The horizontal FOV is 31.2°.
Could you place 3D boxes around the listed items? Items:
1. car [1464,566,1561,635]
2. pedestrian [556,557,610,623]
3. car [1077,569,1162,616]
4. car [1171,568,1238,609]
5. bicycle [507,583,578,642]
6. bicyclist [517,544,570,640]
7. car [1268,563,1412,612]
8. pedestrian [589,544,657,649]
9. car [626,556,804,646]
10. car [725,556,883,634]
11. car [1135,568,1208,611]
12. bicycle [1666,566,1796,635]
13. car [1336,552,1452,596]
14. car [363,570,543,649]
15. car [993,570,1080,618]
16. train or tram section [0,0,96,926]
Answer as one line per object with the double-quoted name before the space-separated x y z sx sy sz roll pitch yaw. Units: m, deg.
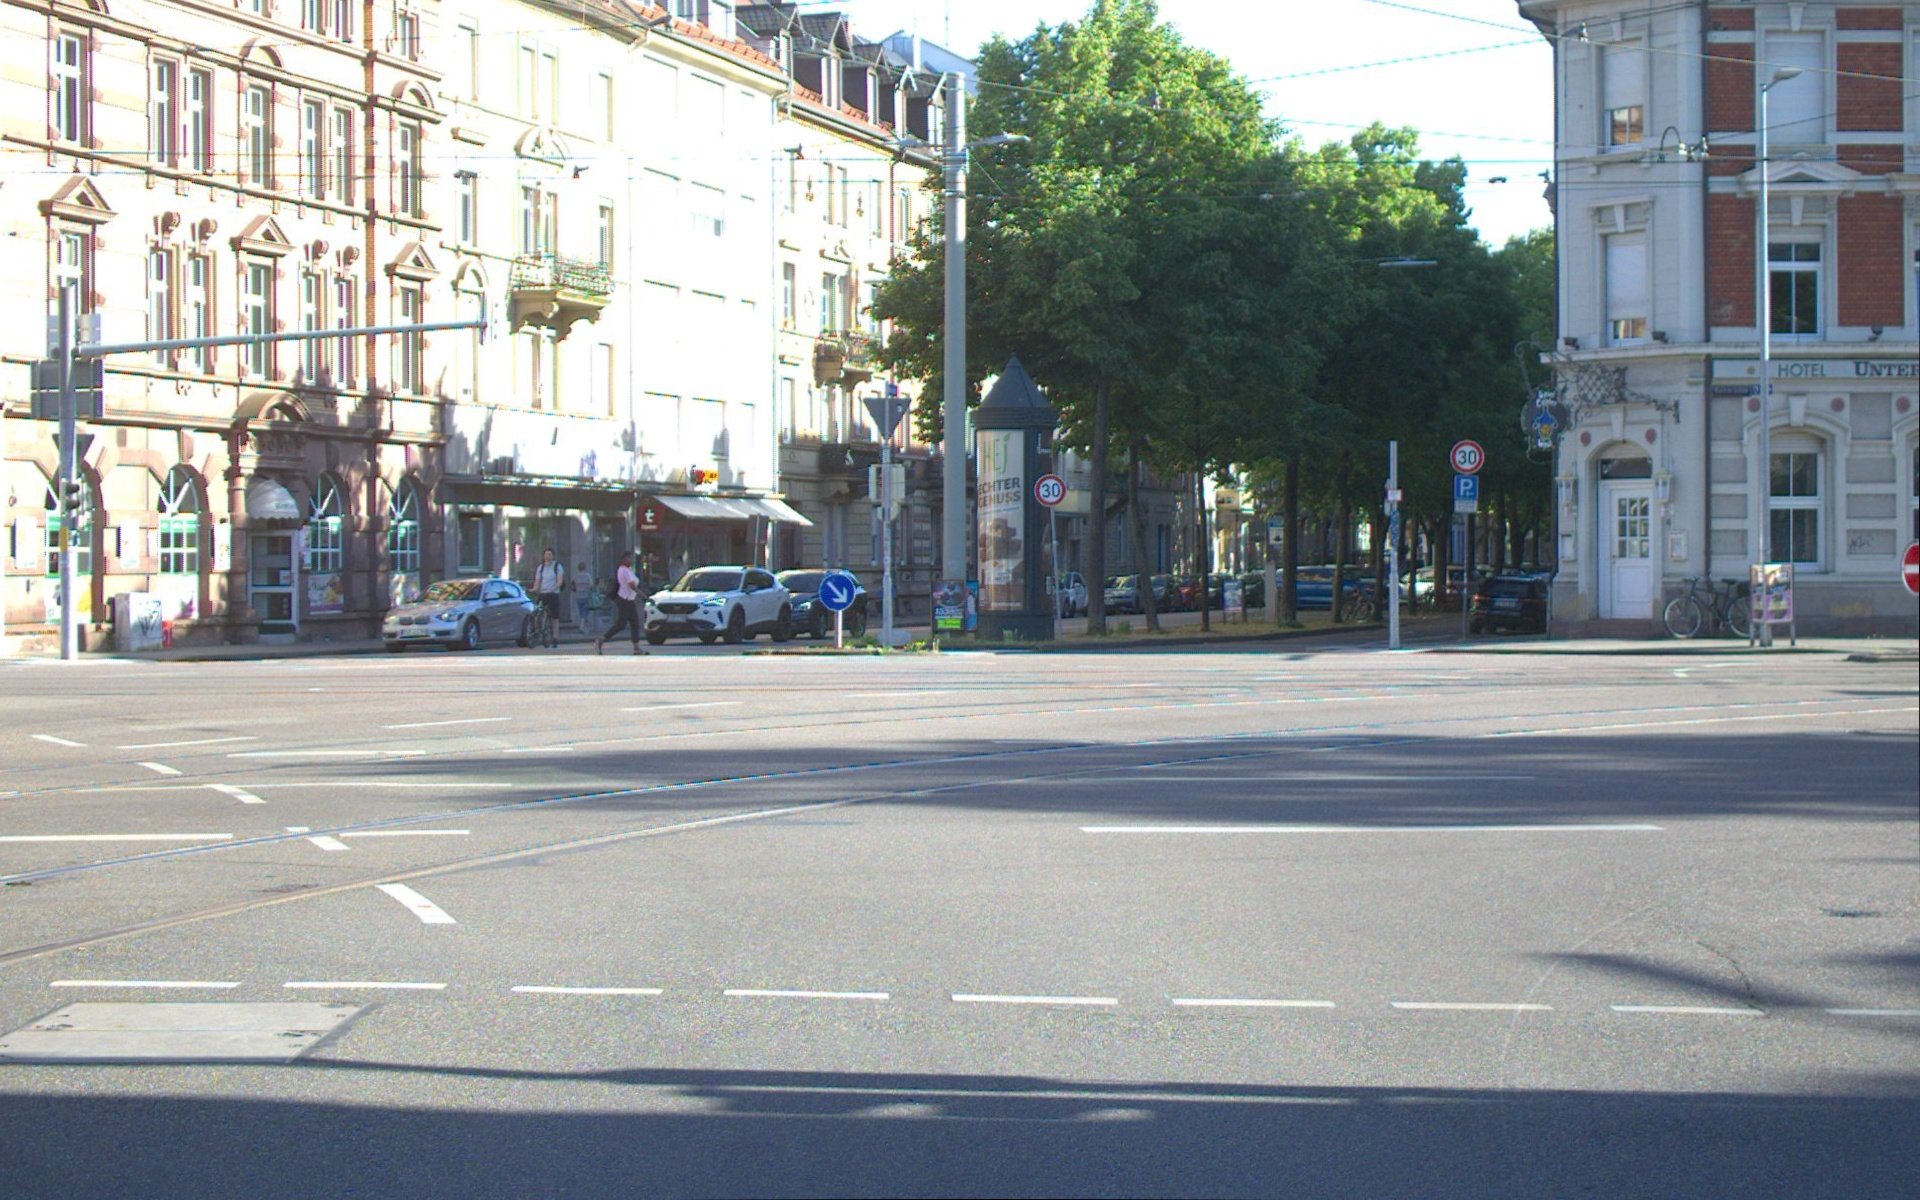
"car" 13.277 -0.006 82.442 1.995 1.579 3.998 0 1 14
"pedestrian" -8.956 -0.243 81.632 0.929 1.530 1.136 0 1 14
"car" 5.718 -0.294 122.667 1.995 1.607 4.387 0 1 17
"car" 9.713 -0.462 136.333 1.766 1.544 4.387 0 1 16
"bicycle" -7.883 0.221 65.015 0.680 1.062 2.124 0 1 12
"bicyclist" -7.873 -0.158 65.050 0.679 1.814 1.070 0 1 12
"car" 12.761 -0.435 115.428 4.382 1.606 1.997 0 1 27
"pedestrian" -5.657 -0.071 57.685 1.046 1.738 0.809 0 1 -13
"car" -4.758 -0.013 67.328 1.995 1.678 4.387 0 1 17
"car" -3.311 -0.131 73.841 1.995 1.606 4.387 0 1 17
"car" 8.046 -0.413 130.456 1.839 1.547 4.387 0 1 17
"bicycle" 12.862 0.014 57.391 2.085 1.120 0.367 1 0 -4
"car" 16.874 -1.009 133.625 3.993 1.700 1.997 0 1 30
"car" -9.846 0.153 67.054 1.900 1.450 3.997 0 1 17
"car" 2.497 -0.218 110.965 1.995 1.481 3.998 0 1 14
"train or tram section" -5.955 -0.644 15.430 2.814 3.488 7.964 -1 1 -23
